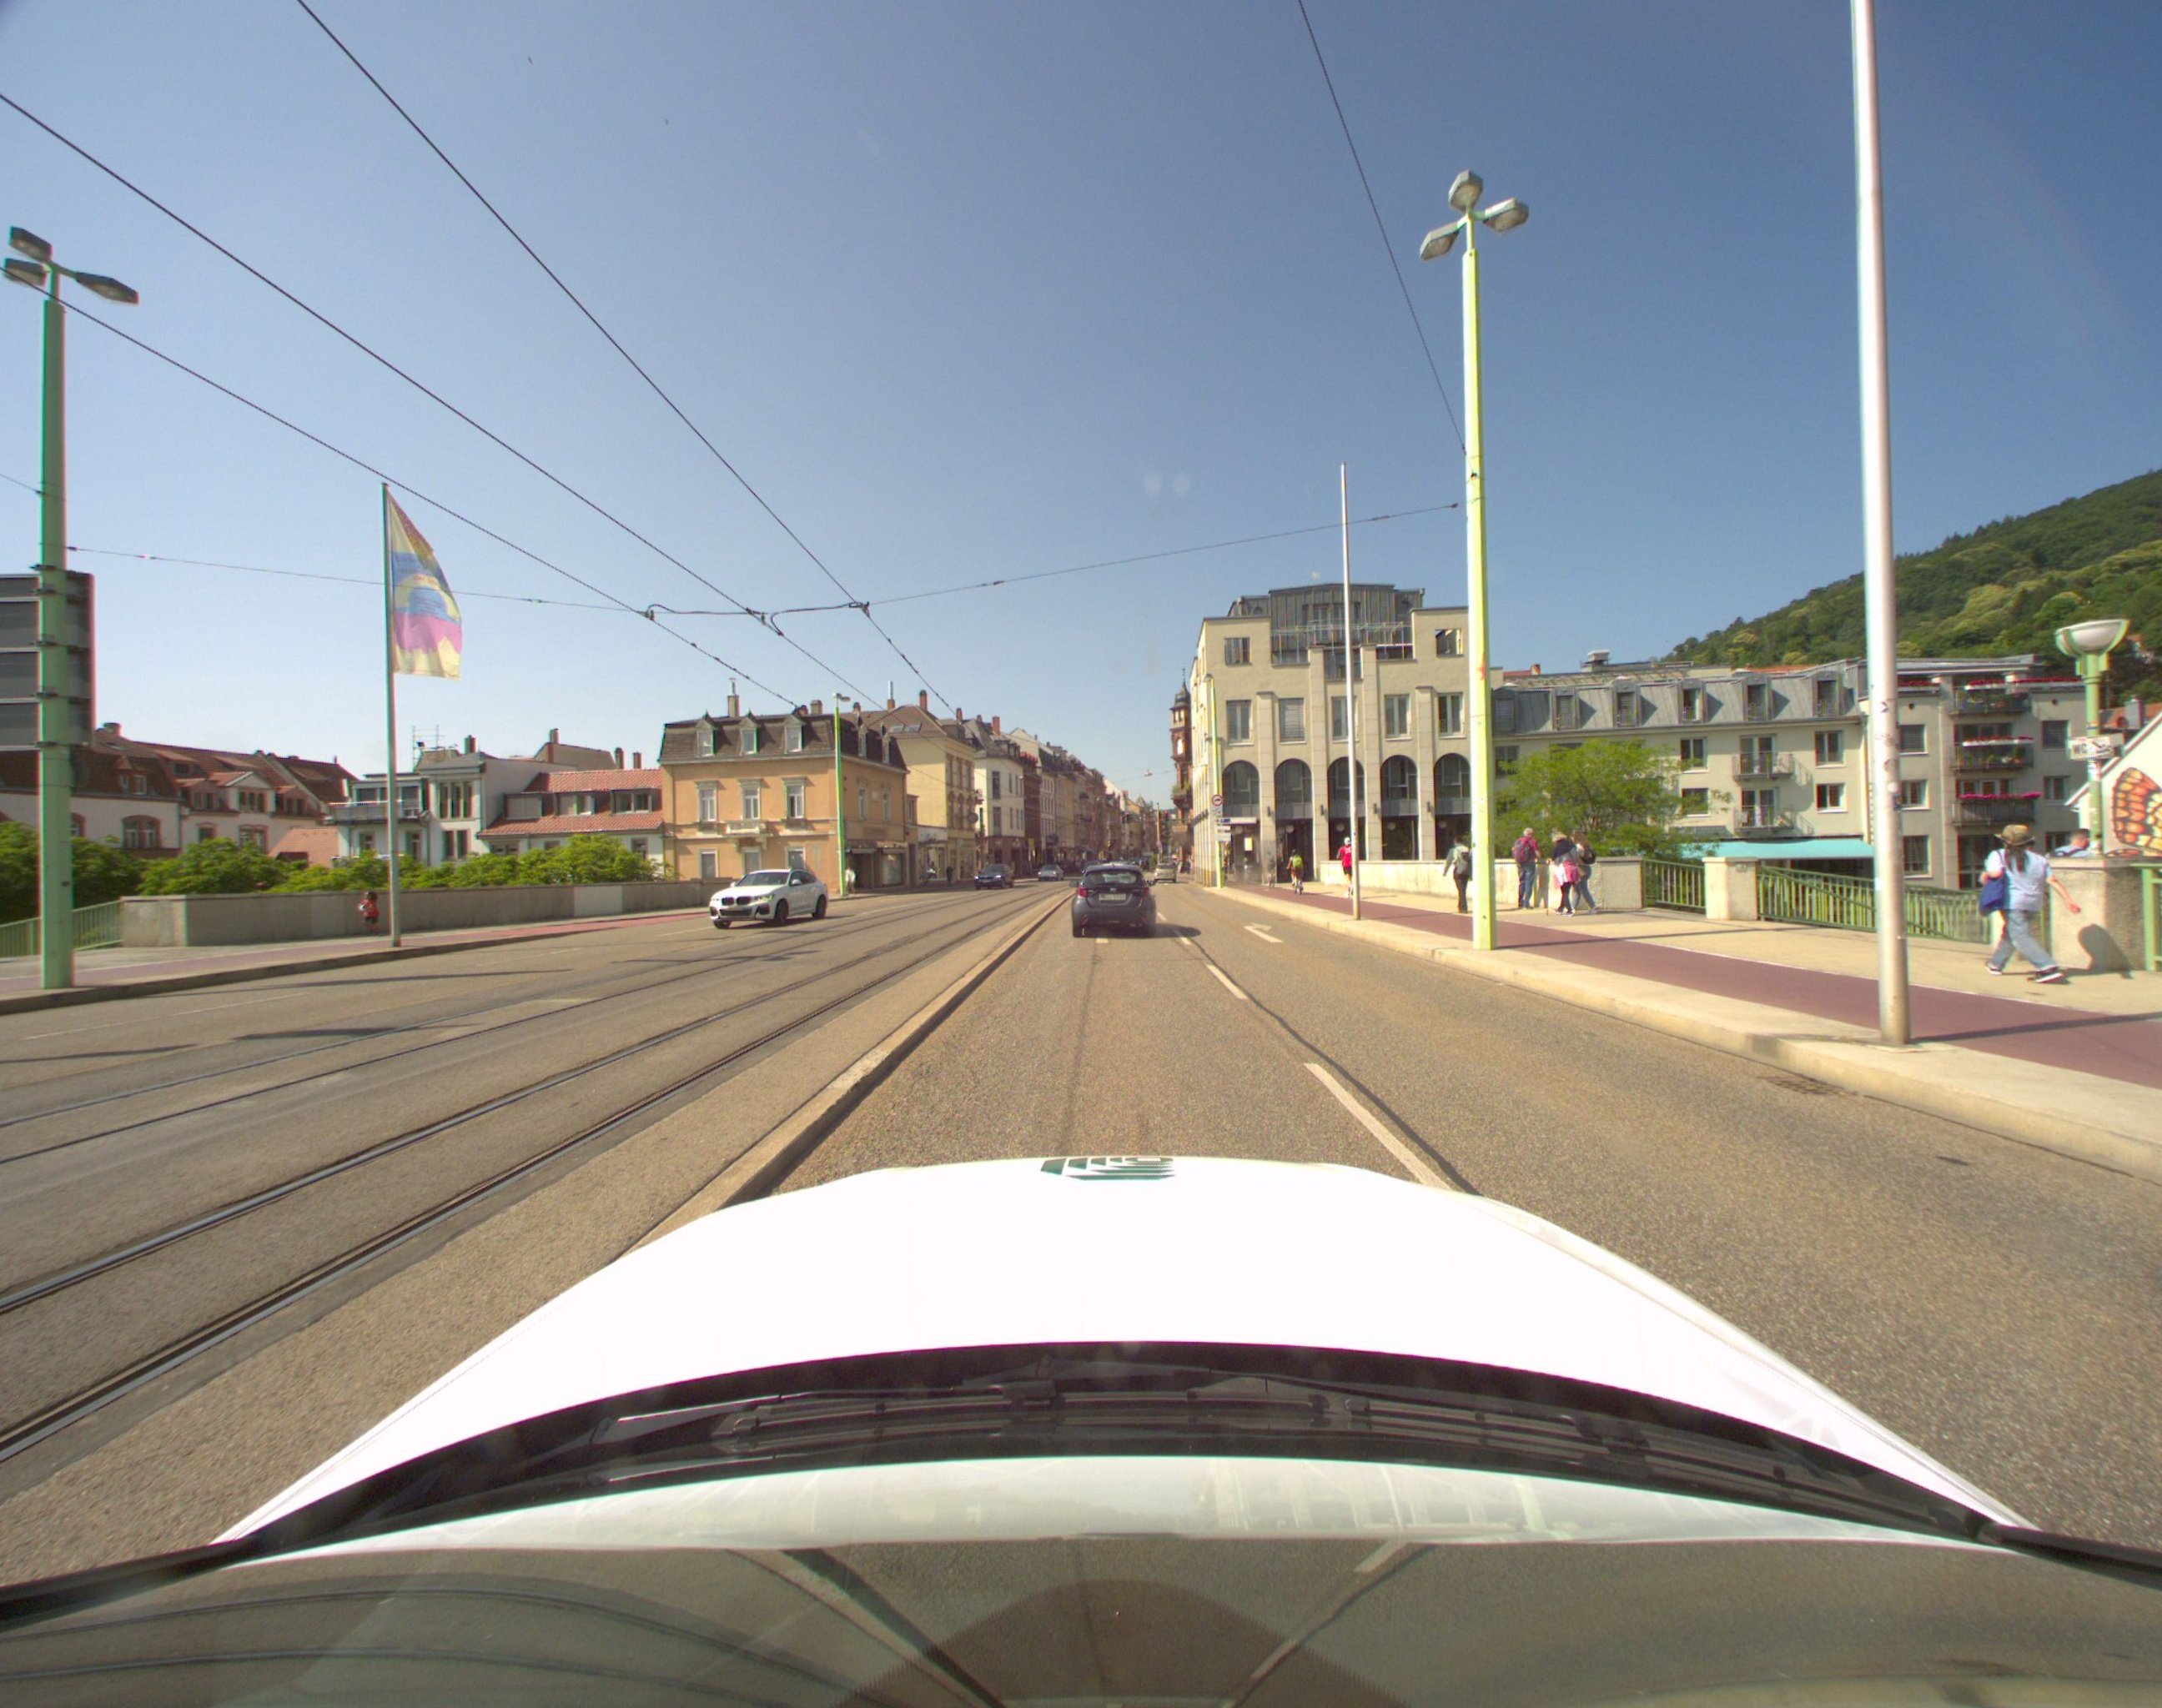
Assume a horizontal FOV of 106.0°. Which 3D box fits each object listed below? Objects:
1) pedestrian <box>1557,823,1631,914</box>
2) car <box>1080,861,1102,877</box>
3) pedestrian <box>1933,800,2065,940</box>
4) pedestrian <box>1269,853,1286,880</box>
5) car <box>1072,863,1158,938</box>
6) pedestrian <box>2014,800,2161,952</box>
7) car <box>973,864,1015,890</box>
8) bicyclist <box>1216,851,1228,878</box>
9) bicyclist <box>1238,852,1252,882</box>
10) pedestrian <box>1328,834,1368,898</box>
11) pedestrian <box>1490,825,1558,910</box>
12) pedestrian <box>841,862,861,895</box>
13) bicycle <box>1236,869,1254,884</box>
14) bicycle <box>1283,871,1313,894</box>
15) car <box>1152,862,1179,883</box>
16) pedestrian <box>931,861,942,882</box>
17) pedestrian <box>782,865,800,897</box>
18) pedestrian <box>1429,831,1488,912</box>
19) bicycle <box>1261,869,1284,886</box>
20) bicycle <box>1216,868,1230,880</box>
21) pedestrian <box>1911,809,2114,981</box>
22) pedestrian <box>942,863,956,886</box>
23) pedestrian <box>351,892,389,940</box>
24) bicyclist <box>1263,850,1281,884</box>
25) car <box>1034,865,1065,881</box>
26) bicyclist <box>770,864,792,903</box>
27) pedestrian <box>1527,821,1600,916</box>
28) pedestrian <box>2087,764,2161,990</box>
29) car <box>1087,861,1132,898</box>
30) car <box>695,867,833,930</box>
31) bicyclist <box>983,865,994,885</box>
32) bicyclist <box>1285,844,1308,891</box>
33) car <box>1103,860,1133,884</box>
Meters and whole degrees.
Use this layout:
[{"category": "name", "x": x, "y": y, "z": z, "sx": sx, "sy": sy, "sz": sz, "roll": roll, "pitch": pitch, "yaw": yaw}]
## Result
[{"category": "pedestrian", "x": 10.330, "y": 0.283, "z": 16.431, "sx": 0.737, "sy": 1.746, "sz": 1.015, "roll": -3, "pitch": -1, "yaw": -2}, {"category": "car", "x": 1.172, "y": 1.683, "z": 94.438, "sx": 1.982, "sy": 1.773, "sz": 4.009, "roll": -1, "pitch": -1, "yaw": 8}, {"category": "pedestrian", "x": 12.033, "y": 0.201, "z": 10.689, "sx": 1.015, "sy": 1.718, "sz": 0.737, "roll": -3, "pitch": -1, "yaw": -19}, {"category": "pedestrian", "x": 11.907, "y": 0.748, "z": 49.458, "sx": 0.736, "sy": 1.615, "sz": 1.016, "roll": 3, "pitch": -1, "yaw": 1}, {"category": "car", "x": 0.722, "y": 0.950, "z": 18.077, "sx": 1.713, "sy": 1.474, "sz": 3.659, "roll": 0, "pitch": -1, "yaw": 1}, {"category": "pedestrian", "x": 12.056, "y": 0.246, "z": 9.748, "sx": 1.014, "sy": 1.718, "sz": 0.738, "roll": -2, "pitch": -1, "yaw": -14}, {"category": "car", "x": -5.554, "y": 1.455, "z": 52.397, "sx": 1.784, "sy": 1.545, "sz": 3.929, "roll": -2, "pitch": -1, "yaw": 8}, {"category": "bicyclist", "x": 9.510, "y": 0.696, "z": 54.837, "sx": 0.585, "sy": 1.820, "sz": 0.702, "roll": -3, "pitch": -1, "yaw": -1}, {"category": "bicyclist", "x": 9.227, "y": 0.719, "z": 45.882, "sx": 0.585, "sy": 1.650, "sz": 0.702, "roll": -3, "pitch": -1, "yaw": -1}, {"category": "pedestrian", "x": 8.347, "y": 0.373, "z": 25.533, "sx": 0.808, "sy": 1.925, "sz": 1.128, "roll": -3, "pitch": -1, "yaw": 1}, {"category": "pedestrian", "x": 9.838, "y": 0.295, "z": 18.119, "sx": 1.009, "sy": 1.802, "sz": 0.741, "roll": -3, "pitch": -1, "yaw": -1}, {"category": "pedestrian", "x": -12.870, "y": 1.369, "z": 45.580, "sx": 0.733, "sy": 1.766, "sz": 0.787, "roll": 3, "pitch": -1, "yaw": 2}, {"category": "bicycle", "x": 9.250, "y": 1.261, "z": 45.871, "sx": 0.592, "sy": 0.765, "sz": 1.866, "roll": -3, "pitch": -1, "yaw": -1}, {"category": "bicycle", "x": 7.862, "y": 1.025, "z": 29.569, "sx": 0.591, "sy": 0.765, "sz": 1.867, "roll": -3, "pitch": -1, "yaw": 2}, {"category": "car", "x": 6.450, "y": 1.392, "z": 62.728, "sx": 1.699, "sy": 1.466, "sz": 4.327, "roll": -1, "pitch": 0, "yaw": 1}, {"category": "pedestrian", "x": -11.473, "y": 1.373, "z": 64.608, "sx": 0.646, "sy": 1.602, "sz": 0.566, "roll": 3, "pitch": 1, "yaw": 2}, {"category": "pedestrian", "x": -14.915, "y": 1.379, "z": 41.863, "sx": 0.646, "sy": 1.602, "sz": 0.566, "roll": 3, "pitch": 1, "yaw": 2}, {"category": "pedestrian", "x": 8.429, "y": 0.389, "z": 18.229, "sx": 0.752, "sy": 1.718, "sz": 1.073, "roll": -3, "pitch": -1, "yaw": 1}, {"category": "bicycle", "x": 8.851, "y": 1.075, "z": 37.639, "sx": 0.592, "sy": 0.765, "sz": 1.830, "roll": -3, "pitch": -1, "yaw": -1}, {"category": "bicycle", "x": 9.540, "y": 1.314, "z": 54.826, "sx": 0.592, "sy": 0.765, "sz": 1.866, "roll": -3, "pitch": -1, "yaw": -1}, {"category": "pedestrian", "x": 8.978, "y": 0.382, "z": 7.909, "sx": 0.824, "sy": 1.530, "sz": 0.935, "roll": -3, "pitch": -1, "yaw": 9}, {"category": "pedestrian", "x": -10.010, "y": 1.567, "z": 61.932, "sx": 0.757, "sy": 1.654, "sz": 0.713, "roll": 3, "pitch": -1, "yaw": 11}, {"category": "pedestrian", "x": -17.810, "y": 1.538, "z": 20.408, "sx": 0.409, "sy": 1.146, "sz": 0.546, "roll": 1, "pitch": -1, "yaw": 12}, {"category": "bicyclist", "x": 8.830, "y": 0.595, "z": 37.686, "sx": 0.585, "sy": 1.559, "sz": 0.702, "roll": -3, "pitch": -1, "yaw": -1}, {"category": "car", "x": -2.740, "y": 1.663, "z": 72.432, "sx": 1.982, "sy": 1.432, "sz": 4.009, "roll": -1, "pitch": -1, "yaw": 8}, {"category": "bicyclist", "x": -12.916, "y": 1.274, "z": 35.062, "sx": 0.623, "sy": 1.650, "sz": 0.623, "roll": 0, "pitch": 0, "yaw": 10}, {"category": "pedestrian", "x": 9.568, "y": 0.281, "z": 16.185, "sx": 0.737, "sy": 1.777, "sz": 1.015, "roll": -3, "pitch": -1, "yaw": -1}, {"category": "pedestrian", "x": 9.539, "y": 0.178, "z": 6.743, "sx": 0.922, "sy": 1.897, "sz": 1.137, "roll": -2, "pitch": -1, "yaw": 1}, {"category": "car", "x": 1.270, "y": 1.083, "z": 36.274, "sx": 1.890, "sy": 1.530, "sz": 4.001, "roll": 0, "pitch": -1, "yaw": 1}, {"category": "car", "x": -9.172, "y": 1.228, "z": 24.045, "sx": 1.985, "sy": 1.586, "sz": 4.656, "roll": -2, "pitch": -1, "yaw": 4}, {"category": "bicyclist", "x": -7.533, "y": 1.694, "z": 66.275, "sx": 0.701, "sy": 1.650, "sz": 0.623, "roll": 0, "pitch": 0, "yaw": 10}, {"category": "bicyclist", "x": 7.825, "y": 0.485, "z": 29.568, "sx": 0.602, "sy": 1.650, "sz": 0.702, "roll": -3, "pitch": -1, "yaw": 2}, {"category": "car", "x": 2.446, "y": 1.172, "z": 54.483, "sx": 1.890, "sy": 1.530, "sz": 4.001, "roll": 0, "pitch": -1, "yaw": 1}]
